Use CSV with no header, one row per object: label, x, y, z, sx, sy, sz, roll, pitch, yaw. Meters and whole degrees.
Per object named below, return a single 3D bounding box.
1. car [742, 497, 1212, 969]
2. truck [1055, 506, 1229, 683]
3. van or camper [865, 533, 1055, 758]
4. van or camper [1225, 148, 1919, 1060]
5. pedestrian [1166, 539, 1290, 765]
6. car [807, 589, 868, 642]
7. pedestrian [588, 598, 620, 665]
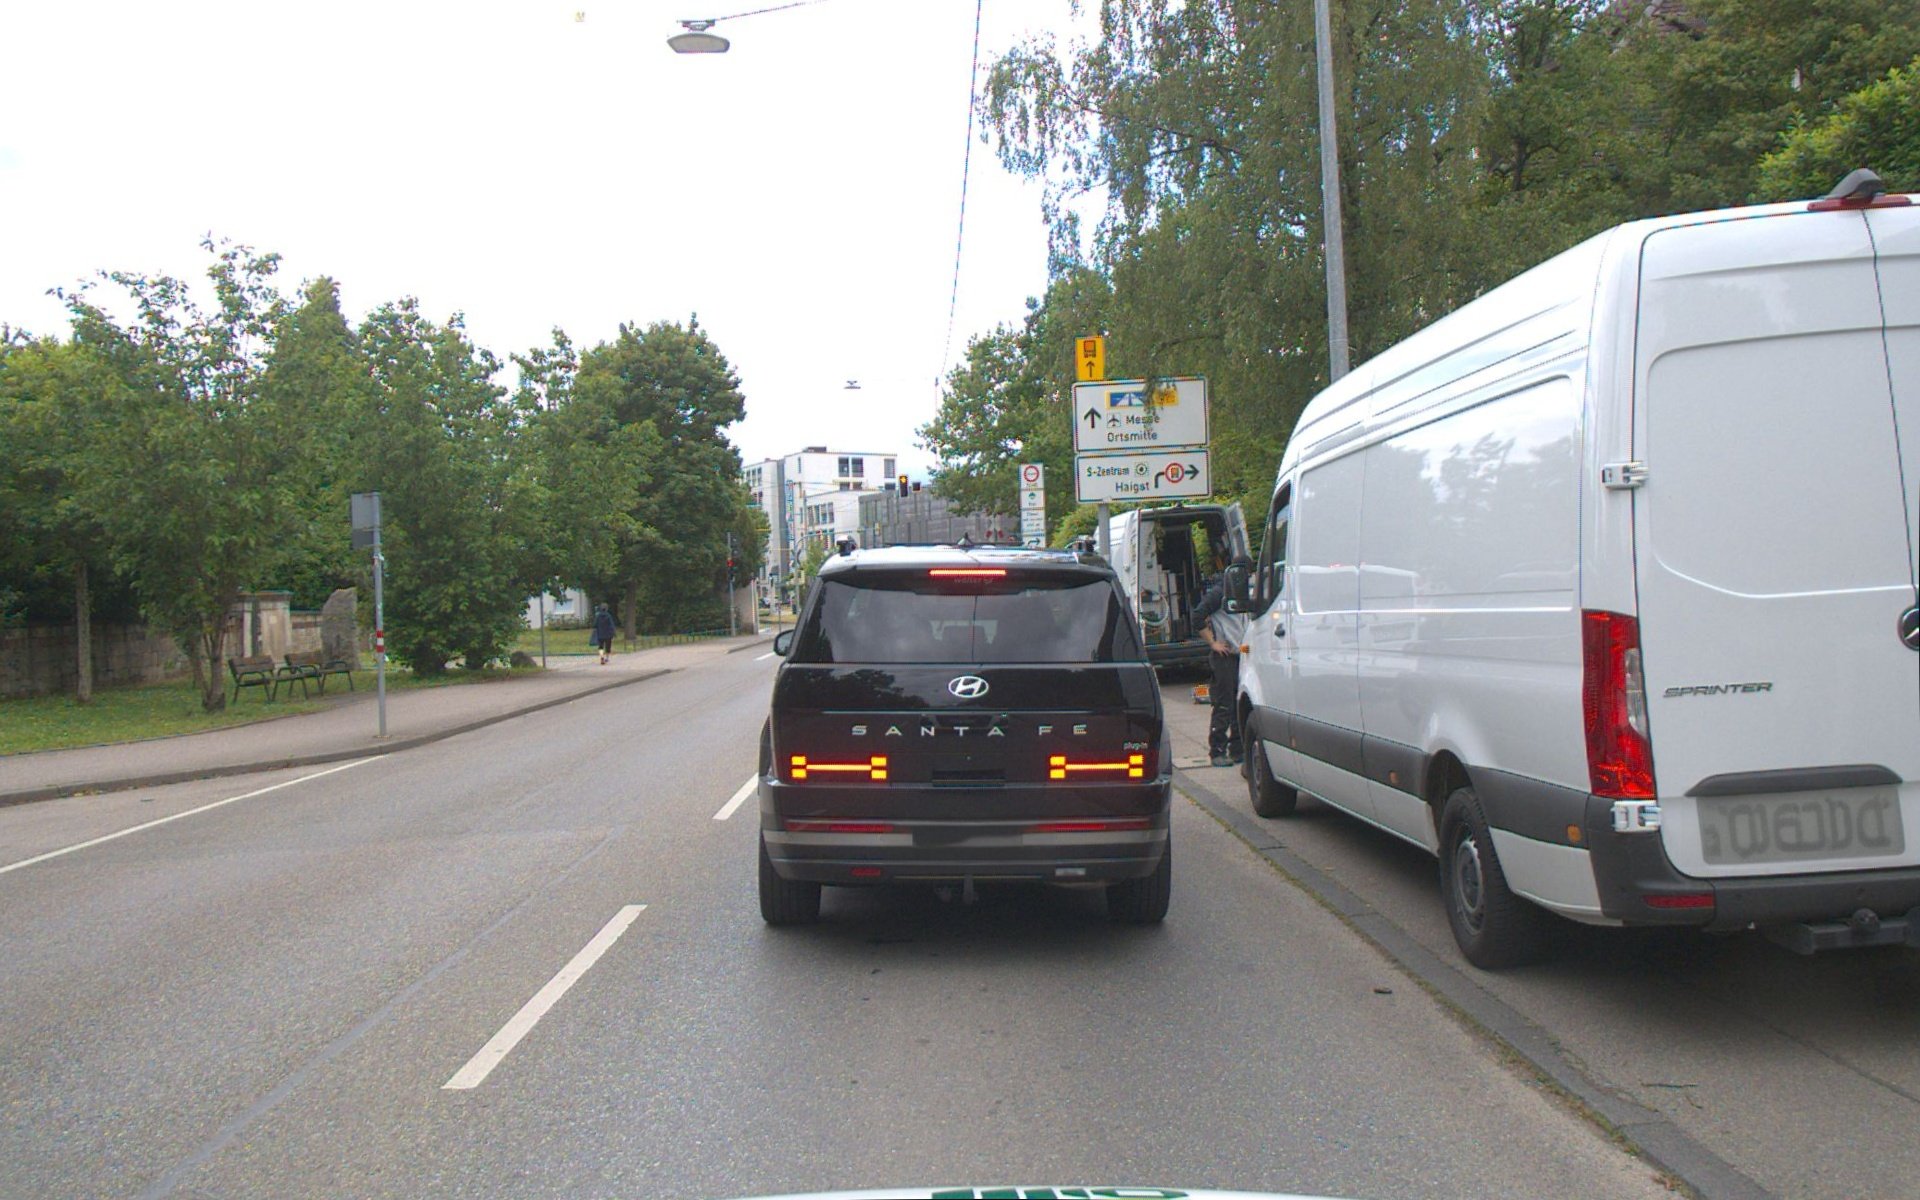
car,0.041,0.515,8.527,1.851,1.851,3.999,0,0,-1
truck,2.953,-0.070,28.013,1.904,2.606,5.212,-3,0,-4
van or camper,-0.029,0.420,17.471,1.719,2.049,3.999,-2,0,-1
van or camper,2.893,-0.018,8.166,1.953,2.665,6.540,-2,0,-1
pedestrian,2.248,0.426,13.954,0.852,1.828,0.759,-2,0,-2
car,-4.314,0.532,58.761,1.822,1.686,4.305,-4,0,-1
pedestrian,-9.581,0.836,44.525,0.724,1.745,0.791,-2,0,-8
